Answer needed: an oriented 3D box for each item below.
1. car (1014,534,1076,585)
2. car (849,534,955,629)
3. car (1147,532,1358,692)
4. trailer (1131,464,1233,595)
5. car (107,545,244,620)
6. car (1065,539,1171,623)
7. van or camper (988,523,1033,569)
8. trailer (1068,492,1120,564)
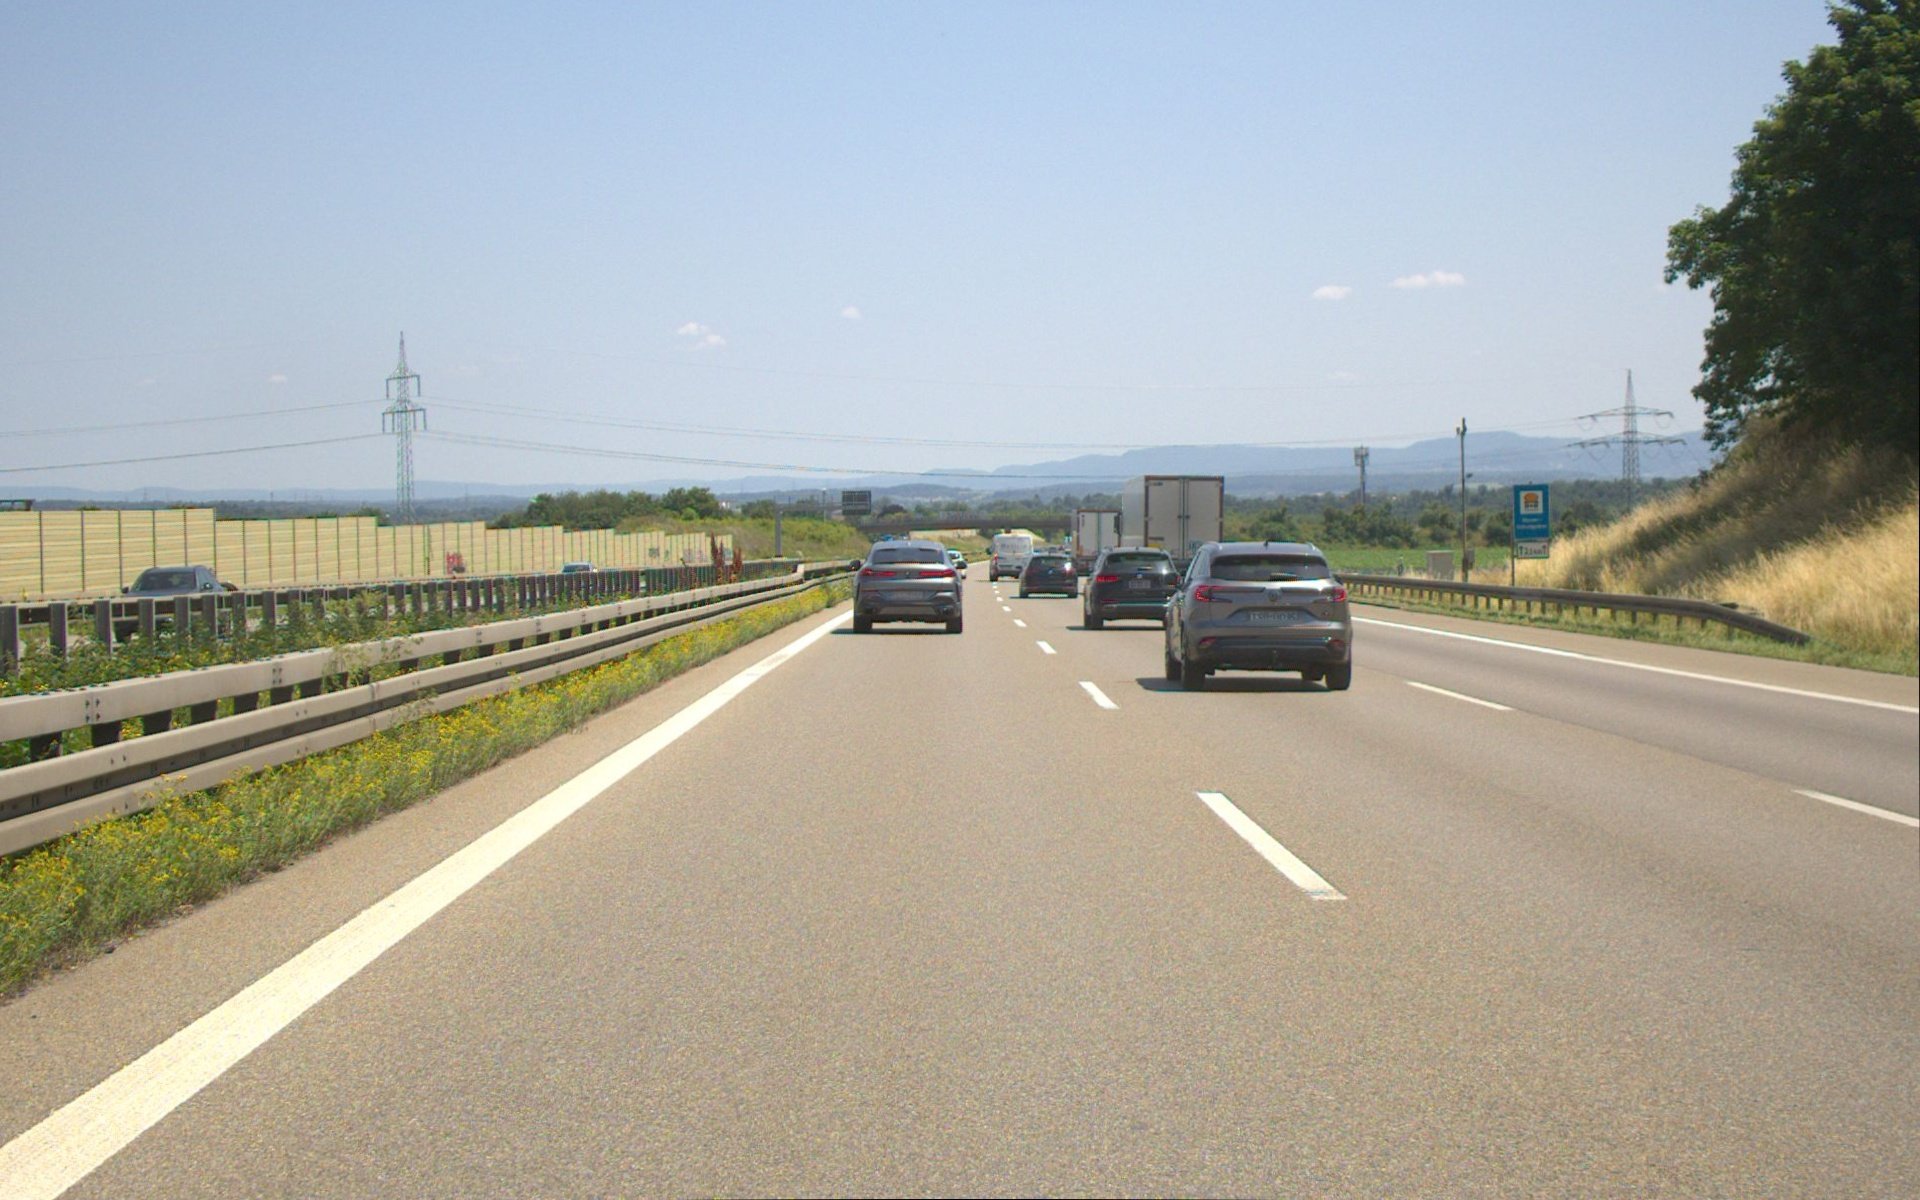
[{"bbox_3d":[2.736,-1.305,110.915,1.933,1.569,4.934,1,1,1],"label":"car"},{"bbox_3d":[-1.068,-0.344,63.050,1.851,1.658,3.735,1,1,-1],"label":"car"},{"bbox_3d":[3.187,0.102,38.322,1.851,1.643,4.645,1,1,-1],"label":"car"},{"bbox_3d":[7.492,-2.337,117.808,2.868,4.205,13.294,1,1,1],"label":"trailer"},{"bbox_3d":[-17.819,-0.426,78.312,1.896,1.564,5.247,-2,1,-1],"label":"car"},{"bbox_3d":[3.051,-0.373,66.969,1.796,1.556,3.824,1,1,-1],"label":"car"},{"bbox_3d":[2.543,-2.667,171.064,2.111,2.204,5.265,1,1,2],"label":"van or camper"},{"bbox_3d":[8.127,-4.336,209.357,2.943,4.184,13.596,1,1,2],"label":"trailer"}]
